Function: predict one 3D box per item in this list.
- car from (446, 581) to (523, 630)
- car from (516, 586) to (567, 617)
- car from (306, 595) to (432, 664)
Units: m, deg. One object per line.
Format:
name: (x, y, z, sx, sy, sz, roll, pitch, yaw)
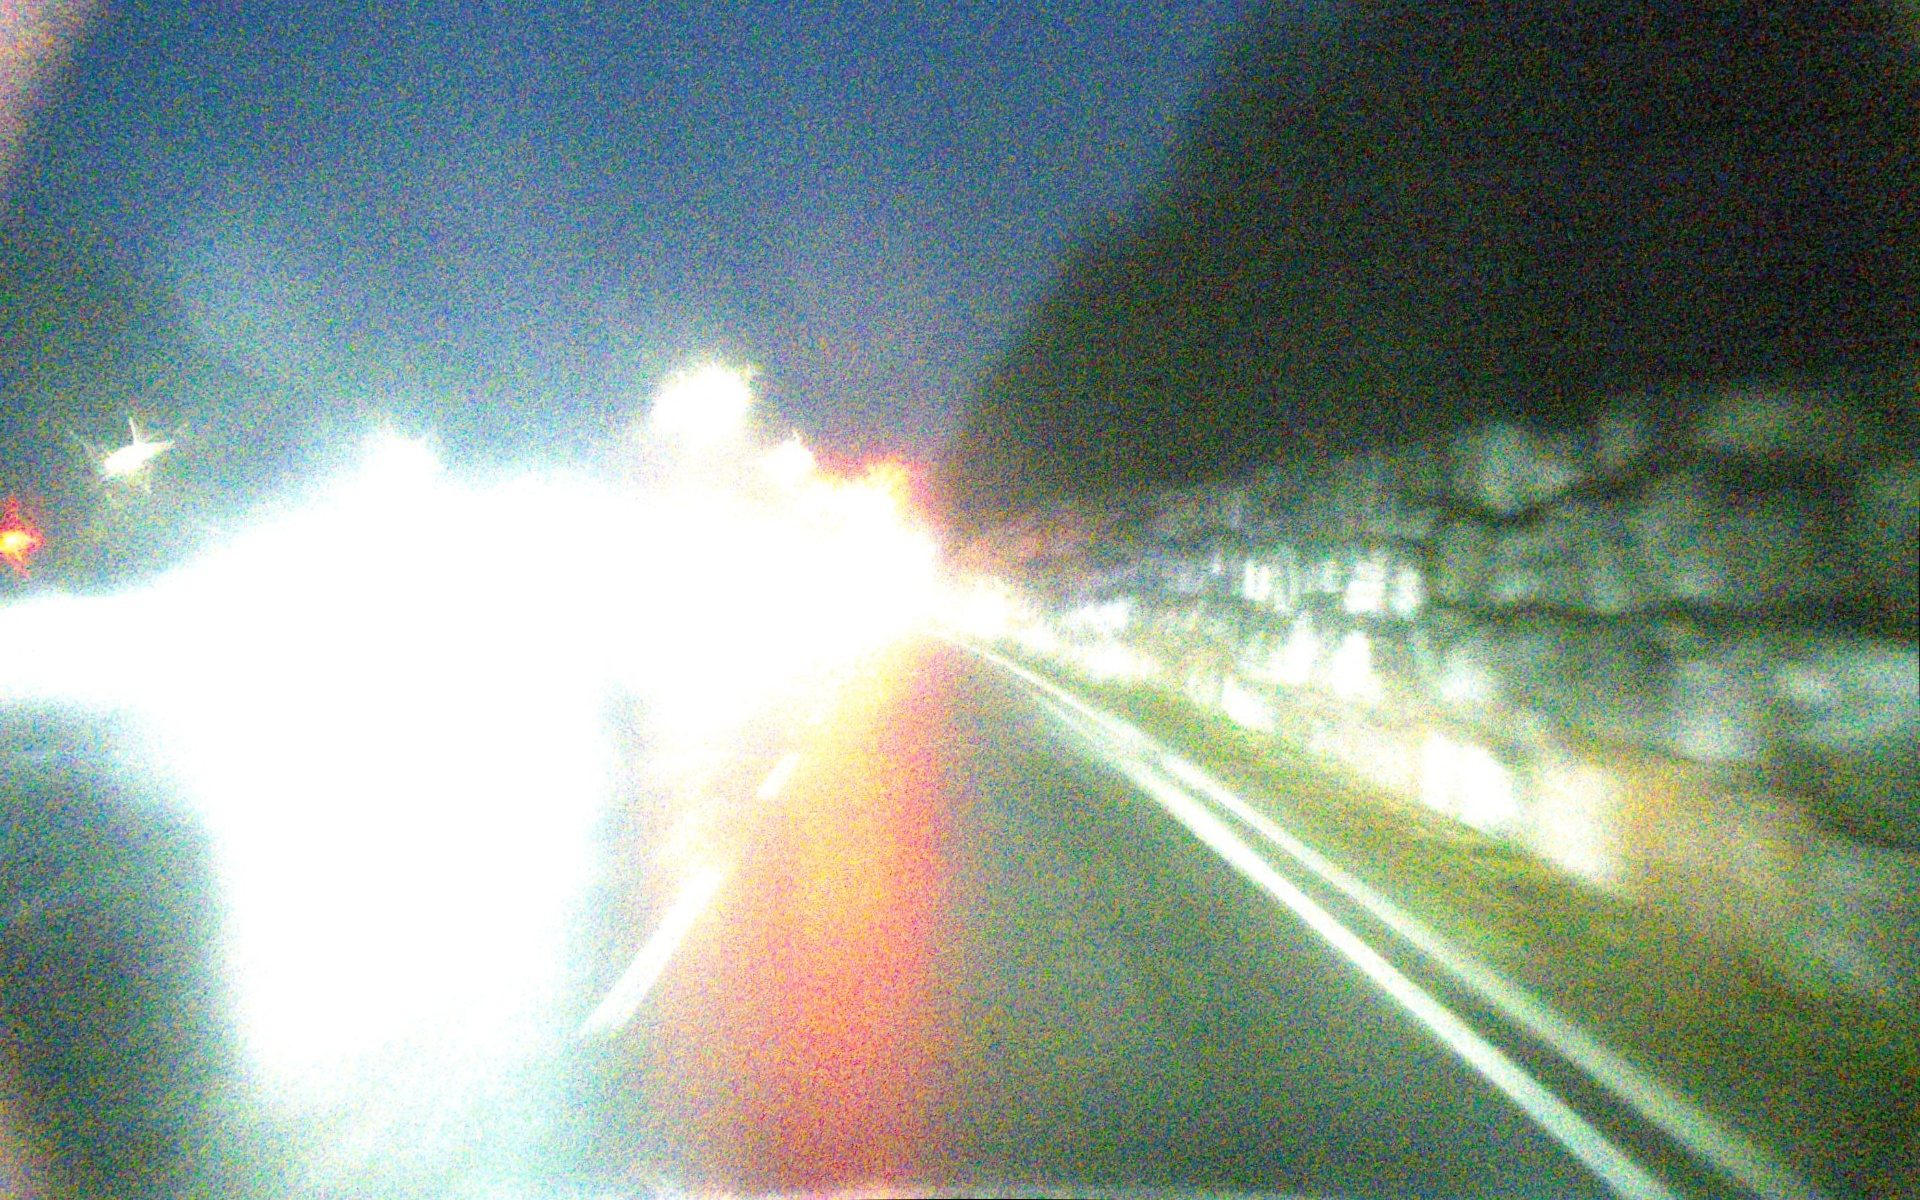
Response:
car: (-15.456, 0.151, 53.940, 1.756, 1.466, 3.851, -2, 1, -7)
car: (-19.562, 0.056, 77.415, 1.840, 1.422, 4.242, 0, 0, -8)
car: (-13.660, 0.636, 38.484, 1.798, 1.467, 4.483, 1, 0, -7)
